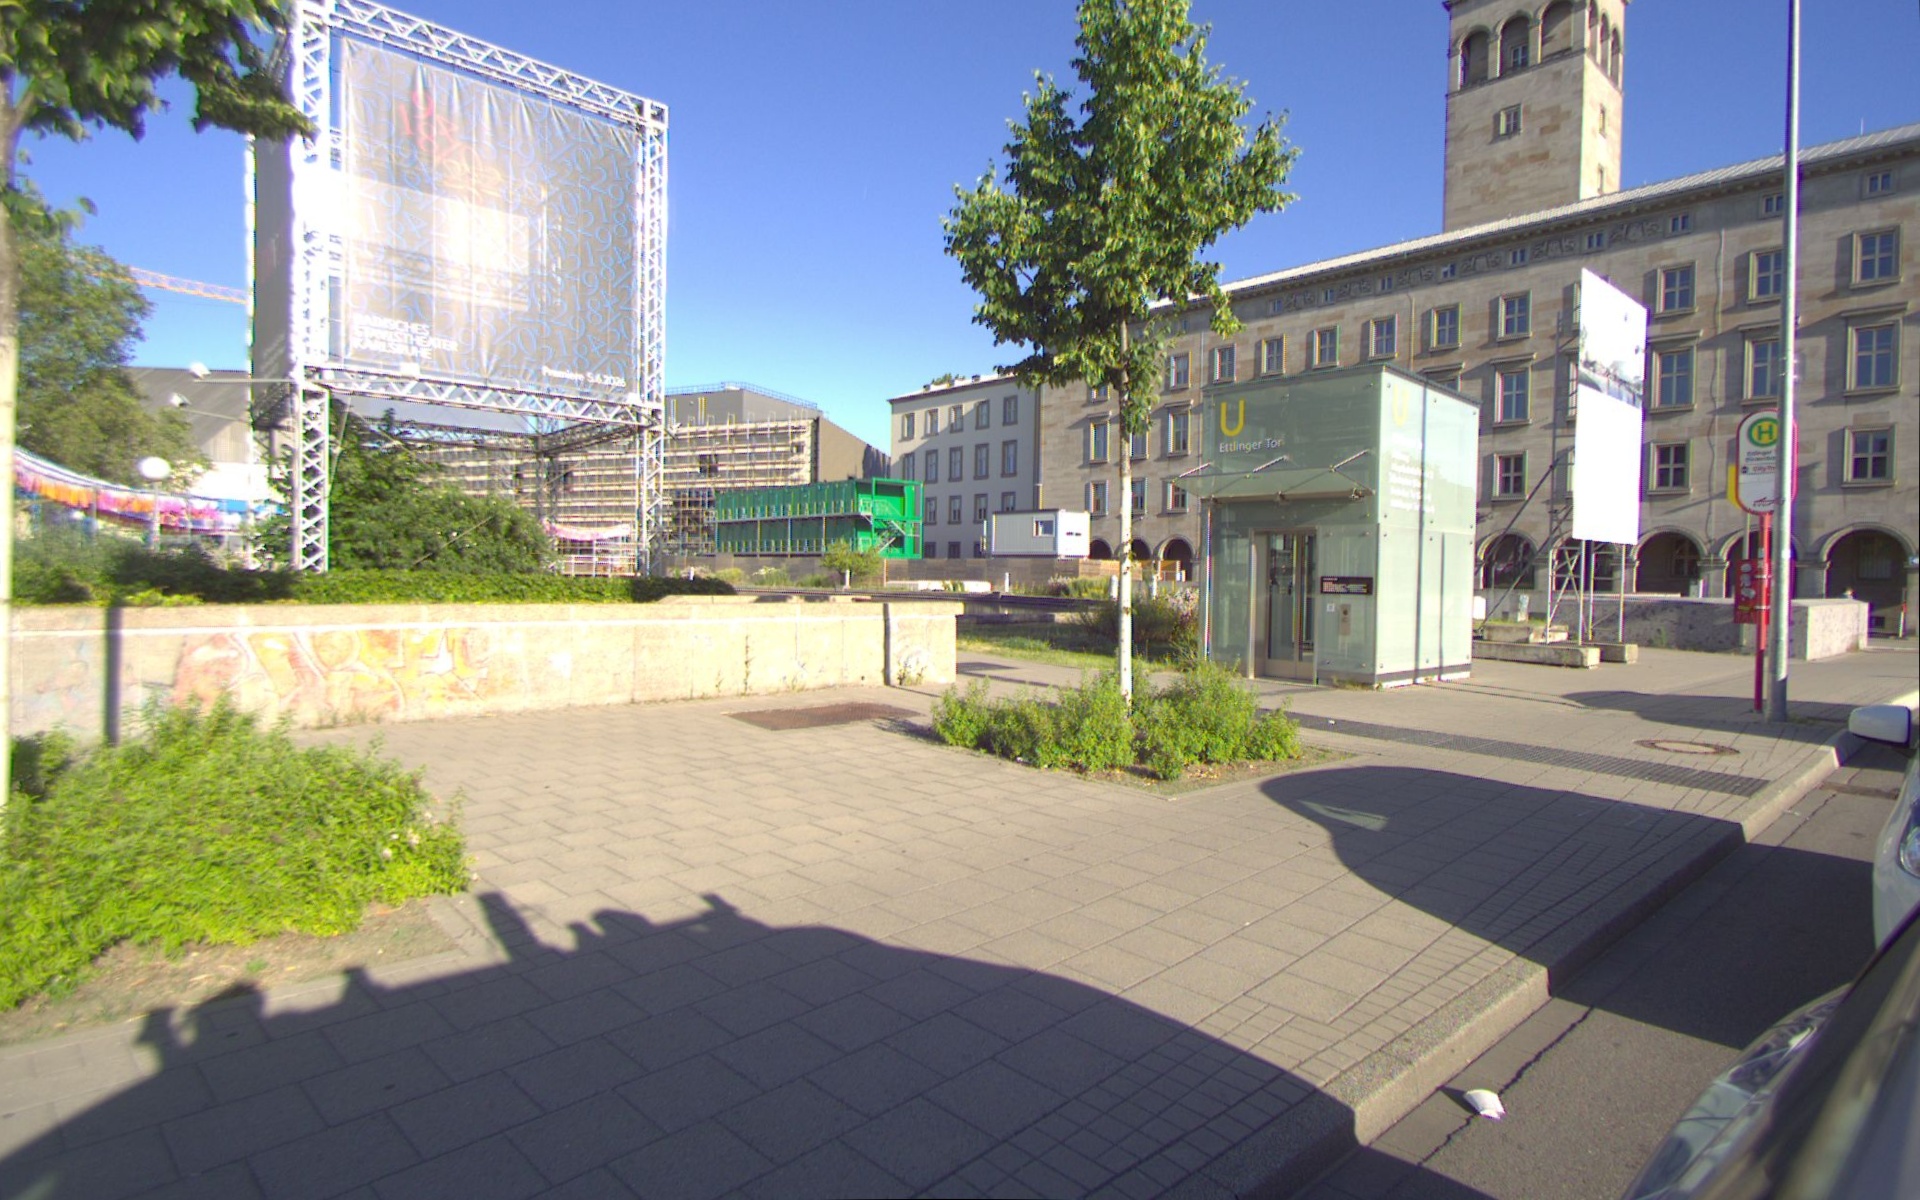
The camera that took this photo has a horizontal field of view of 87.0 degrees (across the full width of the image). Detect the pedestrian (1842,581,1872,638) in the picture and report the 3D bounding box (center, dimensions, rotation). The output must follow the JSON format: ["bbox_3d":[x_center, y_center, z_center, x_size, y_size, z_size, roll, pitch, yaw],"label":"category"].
[{"bbox_3d":[27.882,0.278,31.444,0.572,1.732,0.595,0,1,-41],"label":"pedestrian"}]

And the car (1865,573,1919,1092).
[{"bbox_3d":[4.638,0.677,3.669,3.930,1.473,1.518,0,2,-41],"label":"car"}]
